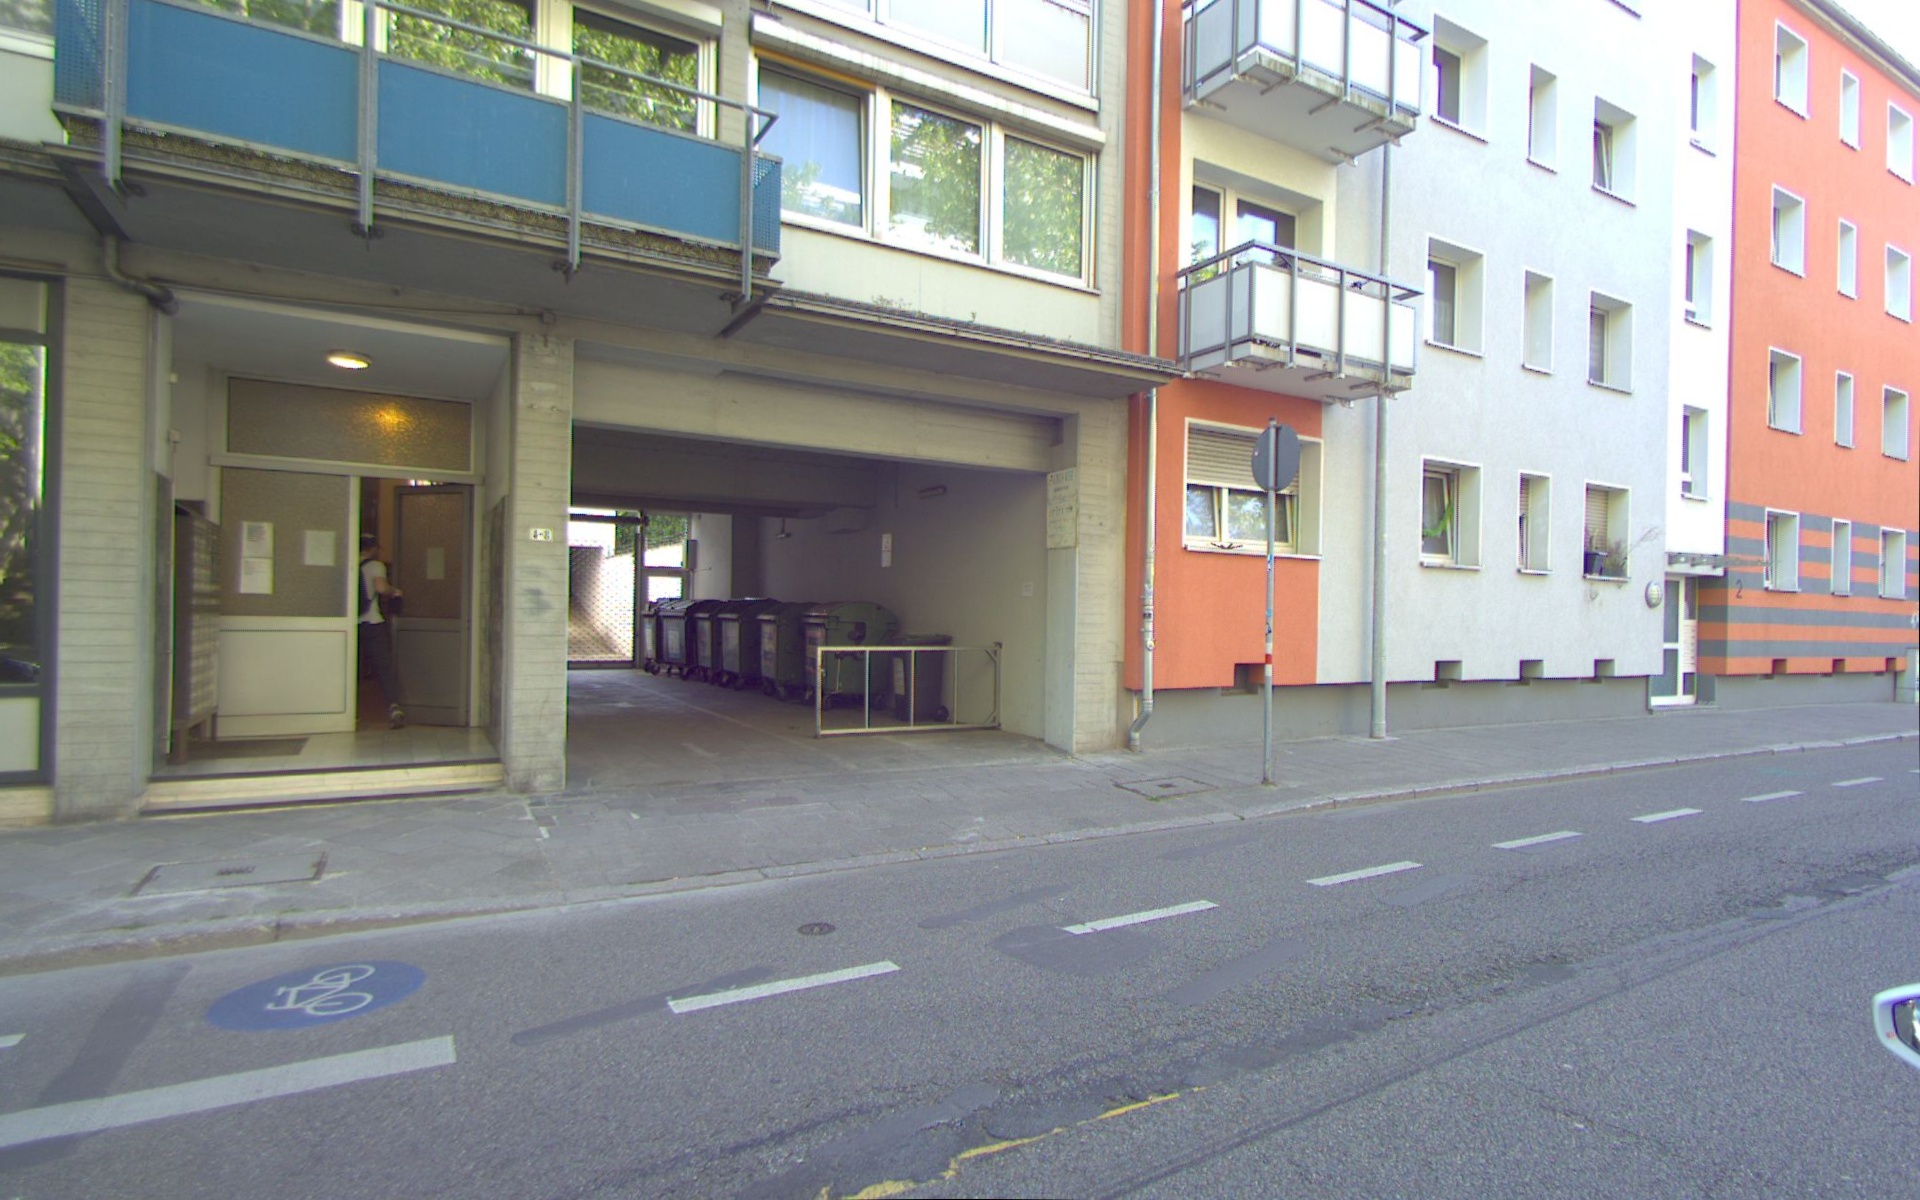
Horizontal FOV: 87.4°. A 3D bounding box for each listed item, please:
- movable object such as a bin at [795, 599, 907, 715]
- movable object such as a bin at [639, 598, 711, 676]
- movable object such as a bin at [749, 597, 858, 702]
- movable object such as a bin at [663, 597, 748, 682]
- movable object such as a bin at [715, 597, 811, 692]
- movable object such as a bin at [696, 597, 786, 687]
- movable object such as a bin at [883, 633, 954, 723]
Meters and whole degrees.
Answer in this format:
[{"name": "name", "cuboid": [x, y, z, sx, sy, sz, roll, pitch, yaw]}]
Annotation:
[{"name": "movable object such as a bin", "cuboid": [-1.517, 0.752, 13.814, 1.128, 1.484, 1.255, 2, 0, -28]}, {"name": "movable object such as a bin", "cuboid": [-5.667, 0.726, 19.950, 1.128, 1.484, 1.129, 2, 0, -28]}, {"name": "movable object such as a bin", "cuboid": [-2.383, 0.731, 15.167, 1.264, 1.493, 1.265, 2, -1, -28]}, {"name": "movable object such as a bin", "cuboid": [-4.748, 0.716, 18.695, 1.264, 1.506, 1.155, 2, 0, -28]}, {"name": "movable object such as a bin", "cuboid": [-3.280, 0.723, 16.704, 1.264, 1.506, 1.155, 2, 0, -28]}, {"name": "movable object such as a bin", "cuboid": [-3.883, 0.724, 17.752, 1.264, 1.515, 1.155, 2, 0, -28]}, {"name": "movable object such as a bin", "cuboid": [-0.518, 0.957, 12.462, 0.694, 1.061, 0.567, 2, 0, -28]}]
